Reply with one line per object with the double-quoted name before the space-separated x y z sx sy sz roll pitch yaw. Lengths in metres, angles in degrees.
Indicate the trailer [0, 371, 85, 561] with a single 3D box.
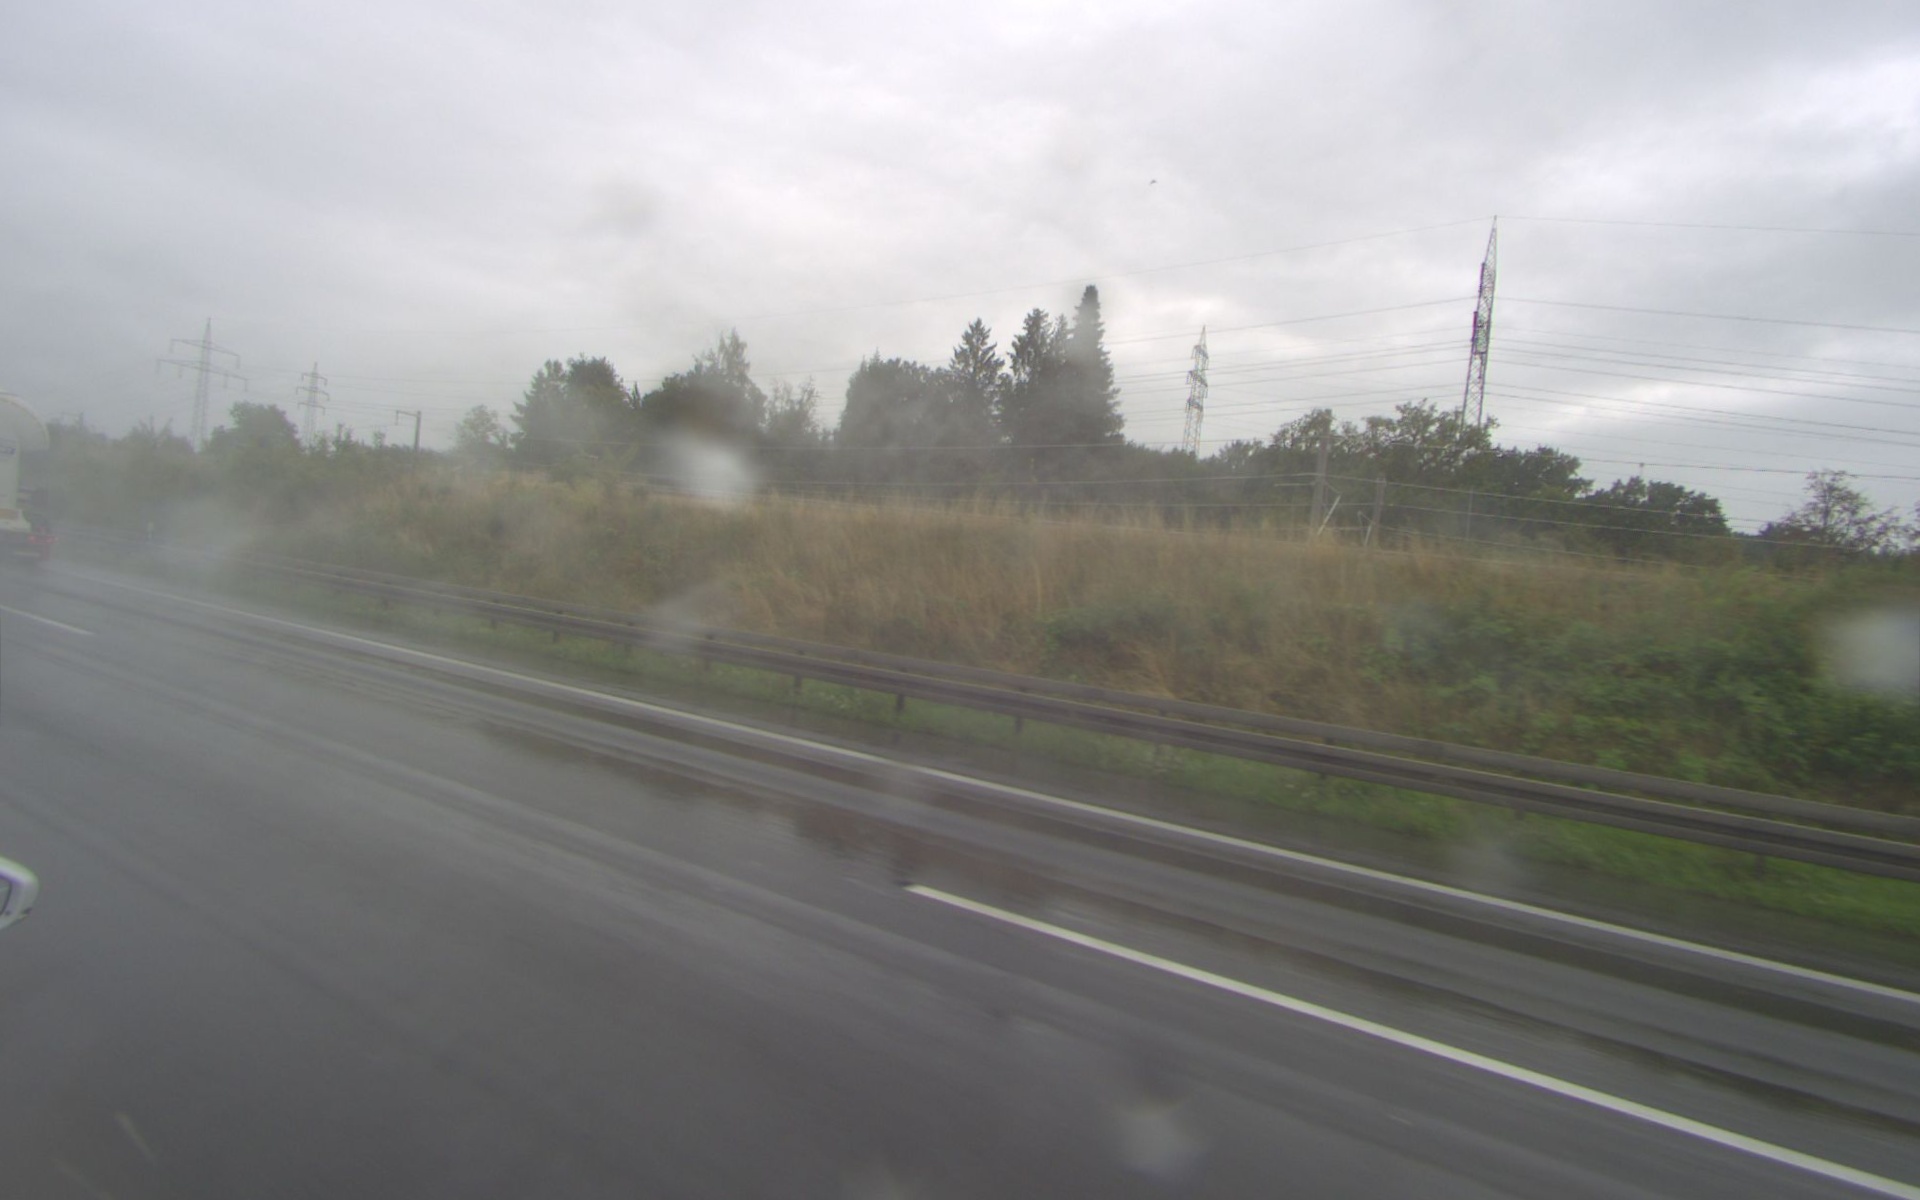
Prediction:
"trailer" -25.402 -3.520 24.591 10.880 3.928 2.502 7 -1 31
